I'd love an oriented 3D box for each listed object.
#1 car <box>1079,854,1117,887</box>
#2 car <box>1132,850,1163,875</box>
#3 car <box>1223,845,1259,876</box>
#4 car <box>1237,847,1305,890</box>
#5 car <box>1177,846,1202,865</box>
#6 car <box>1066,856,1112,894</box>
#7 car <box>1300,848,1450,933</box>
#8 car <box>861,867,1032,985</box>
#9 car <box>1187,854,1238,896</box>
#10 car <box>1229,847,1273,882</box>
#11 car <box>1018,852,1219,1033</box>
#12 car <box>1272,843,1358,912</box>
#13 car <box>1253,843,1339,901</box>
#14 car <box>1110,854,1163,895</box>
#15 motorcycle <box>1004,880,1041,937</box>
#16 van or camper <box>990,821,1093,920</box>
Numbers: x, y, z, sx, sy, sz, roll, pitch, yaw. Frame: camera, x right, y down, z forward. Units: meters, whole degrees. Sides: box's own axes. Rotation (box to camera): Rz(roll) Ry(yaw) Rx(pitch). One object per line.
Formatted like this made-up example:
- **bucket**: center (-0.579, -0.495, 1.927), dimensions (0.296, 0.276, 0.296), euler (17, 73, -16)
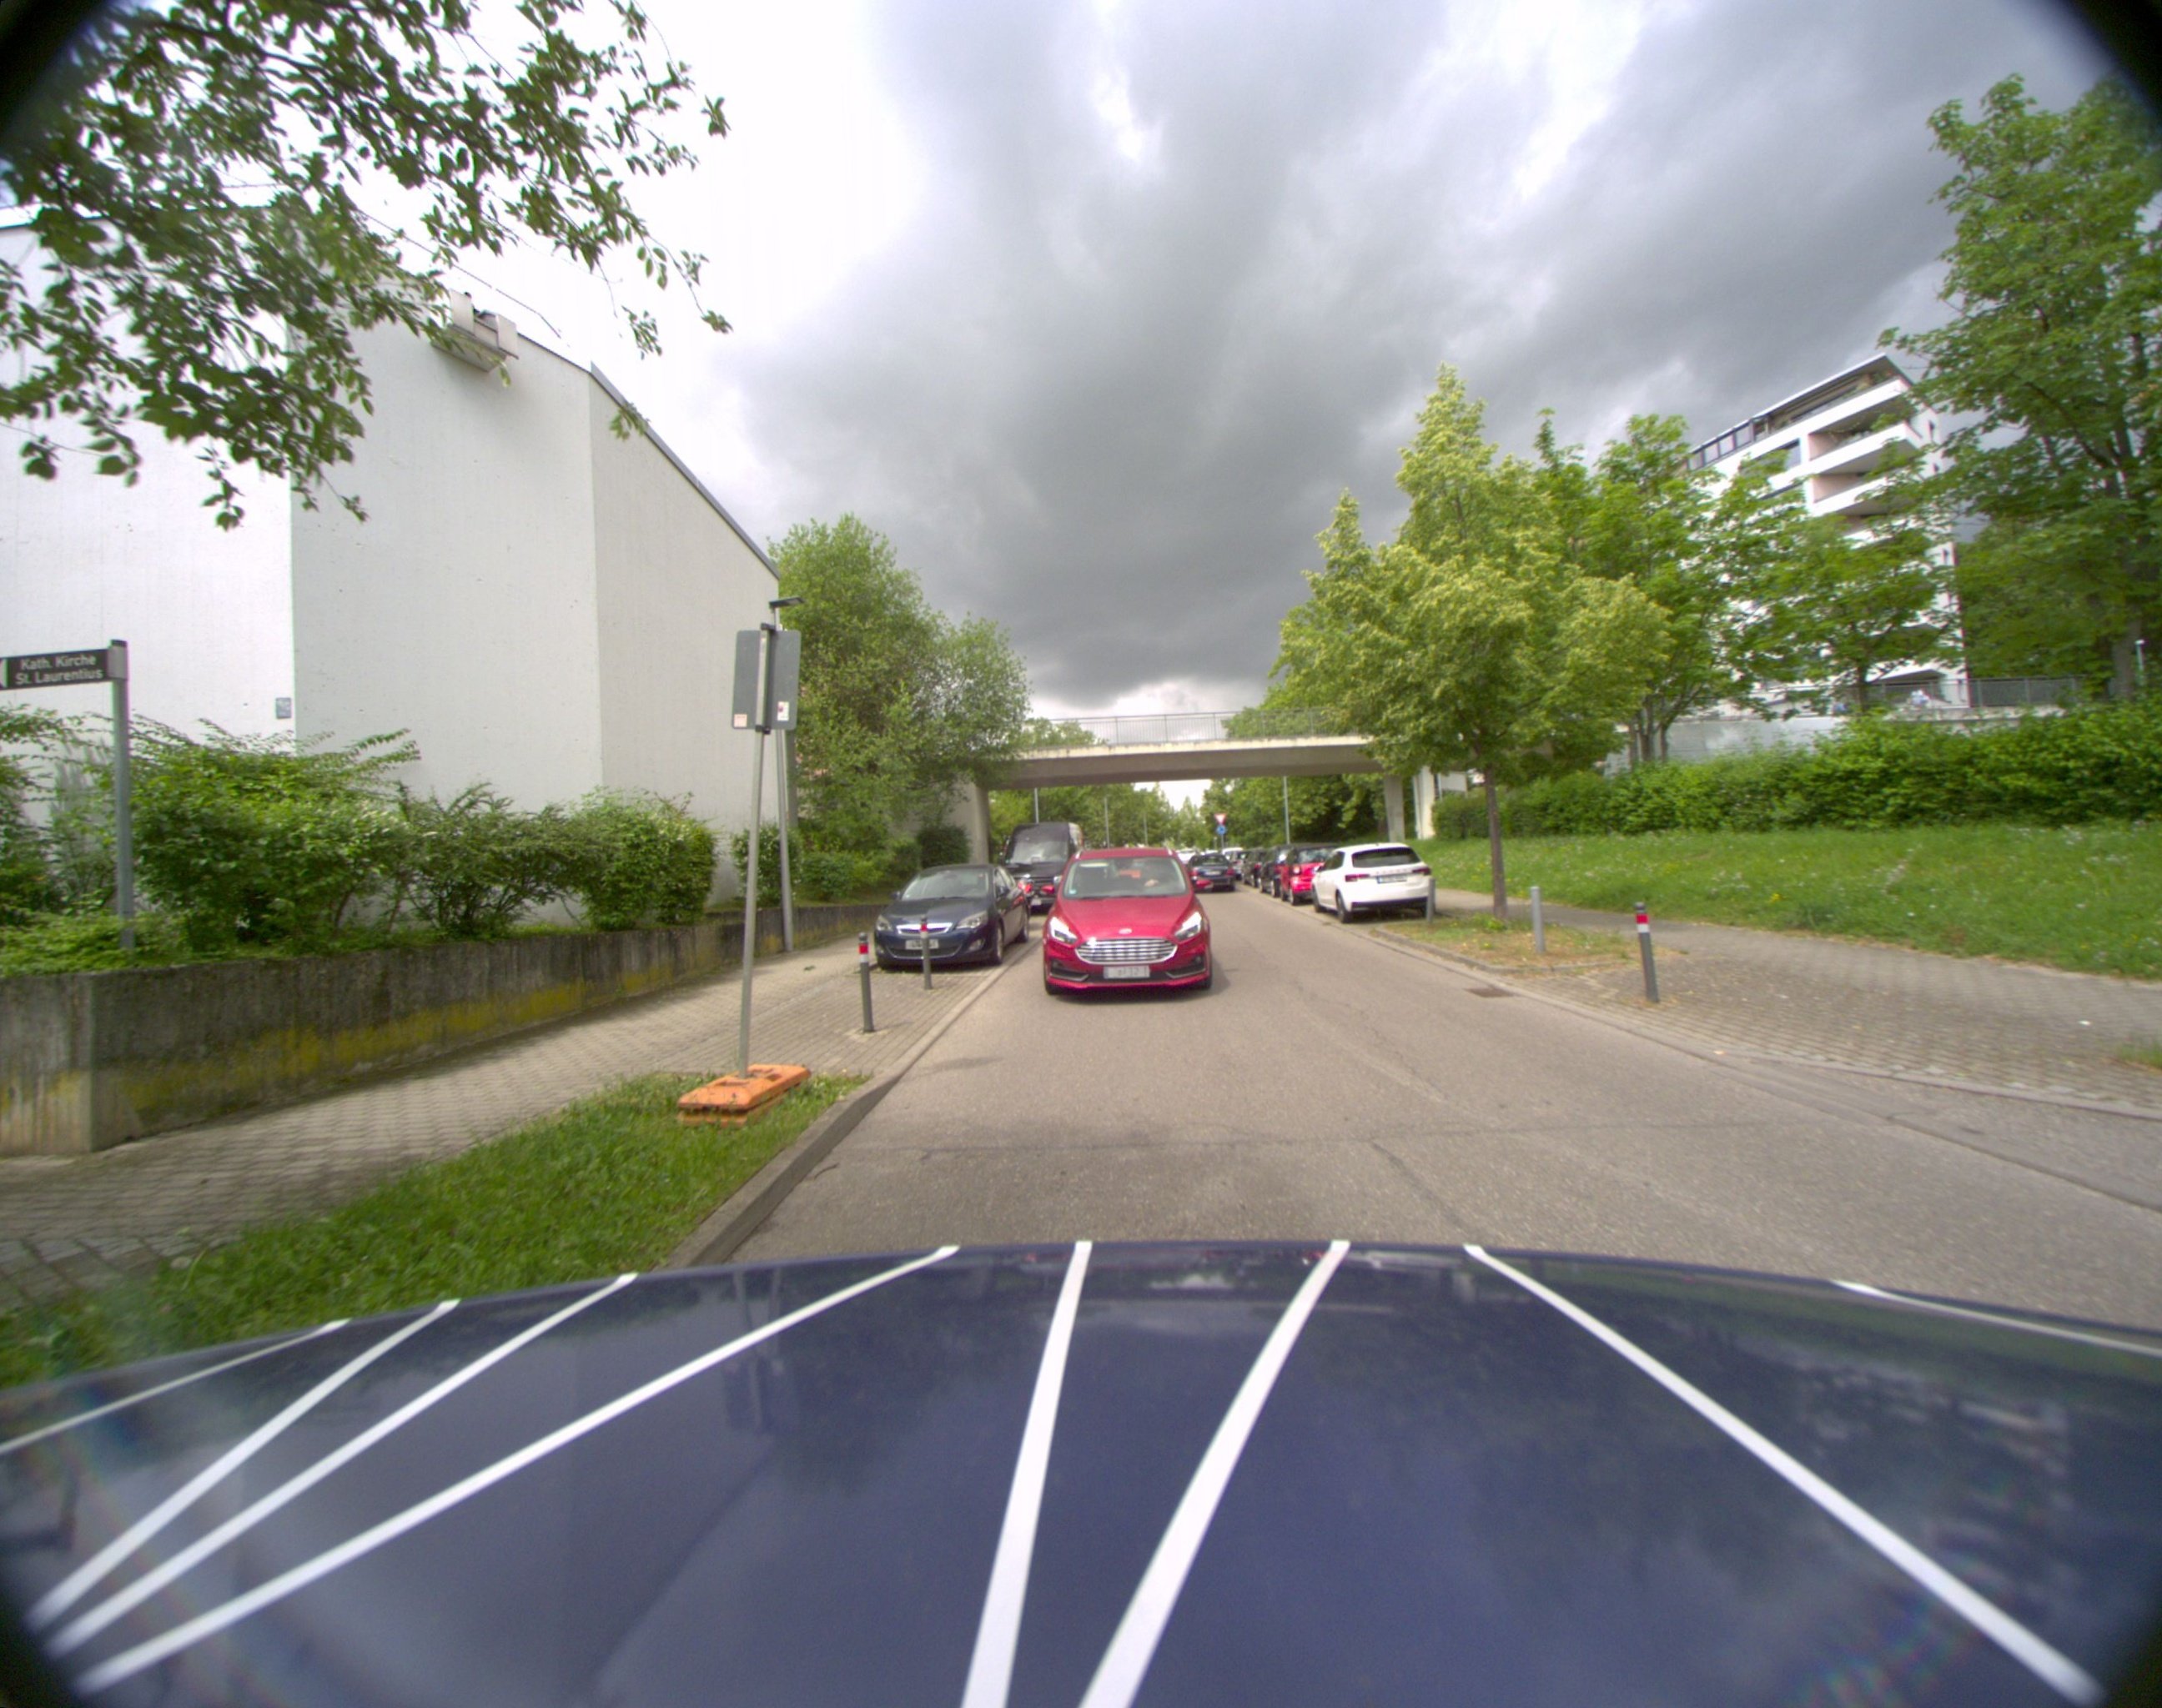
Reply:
- **car**: center (0.912, 0.831, 39.787), dimensions (1.604, 1.534, 3.723), euler (-2, 1, 6)
- **car**: center (4.459, 0.538, 50.568), dimensions (1.779, 1.443, 4.002), euler (-2, 1, 8)
- **car**: center (8.922, 0.312, 42.651), dimensions (1.811, 1.561, 3.724), euler (-2, 1, 10)
- **car**: center (7.552, 0.532, 30.601), dimensions (1.812, 1.472, 4.487), euler (-4, 0, 5)
- **car**: center (9.146, 0.115, 64.455), dimensions (1.812, 1.561, 3.722), euler (-1, 1, 4)
- **car**: center (0.390, 0.884, 33.579), dimensions (1.604, 1.478, 3.723), euler (-2, 1, 6)
- **car**: center (5.892, 0.651, 15.758), dimensions (1.812, 1.397, 4.049), euler (-4, 0, 6)
- **car**: center (-1.906, 0.990, 12.015), dimensions (1.694, 1.412, 4.001), euler (-2, 0, 4)
- **car**: center (5.021, 0.748, 29.344), dimensions (1.755, 1.411, 4.370), euler (-2, 0, 8)
- **car**: center (8.298, 0.476, 37.331), dimensions (1.811, 1.447, 3.863), euler (-6, 0, 10)
- **car**: center (0.539, 0.830, 8.928), dimensions (1.812, 1.600, 3.723), euler (-2, 1, 6)
- **car**: center (6.184, 0.572, 20.353), dimensions (1.597, 1.575, 2.686), euler (-6, 0, 7)
- **car**: center (6.768, 0.521, 24.352), dimensions (1.812, 1.575, 3.986), euler (-5, 0, 5)
- **car**: center (2.280, 0.817, 30.443), dimensions (1.861, 1.434, 4.003), euler (-3, -1, 6)
- **motorcycle**: center (-1.304, 1.153, 16.649), dimensions (0.710, 1.061, 1.929), euler (-3, 1, -6)
- **van or camper**: center (-0.976, 0.386, 22.384), dimensions (1.997, 2.481, 5.760), euler (-2, 1, 6)
